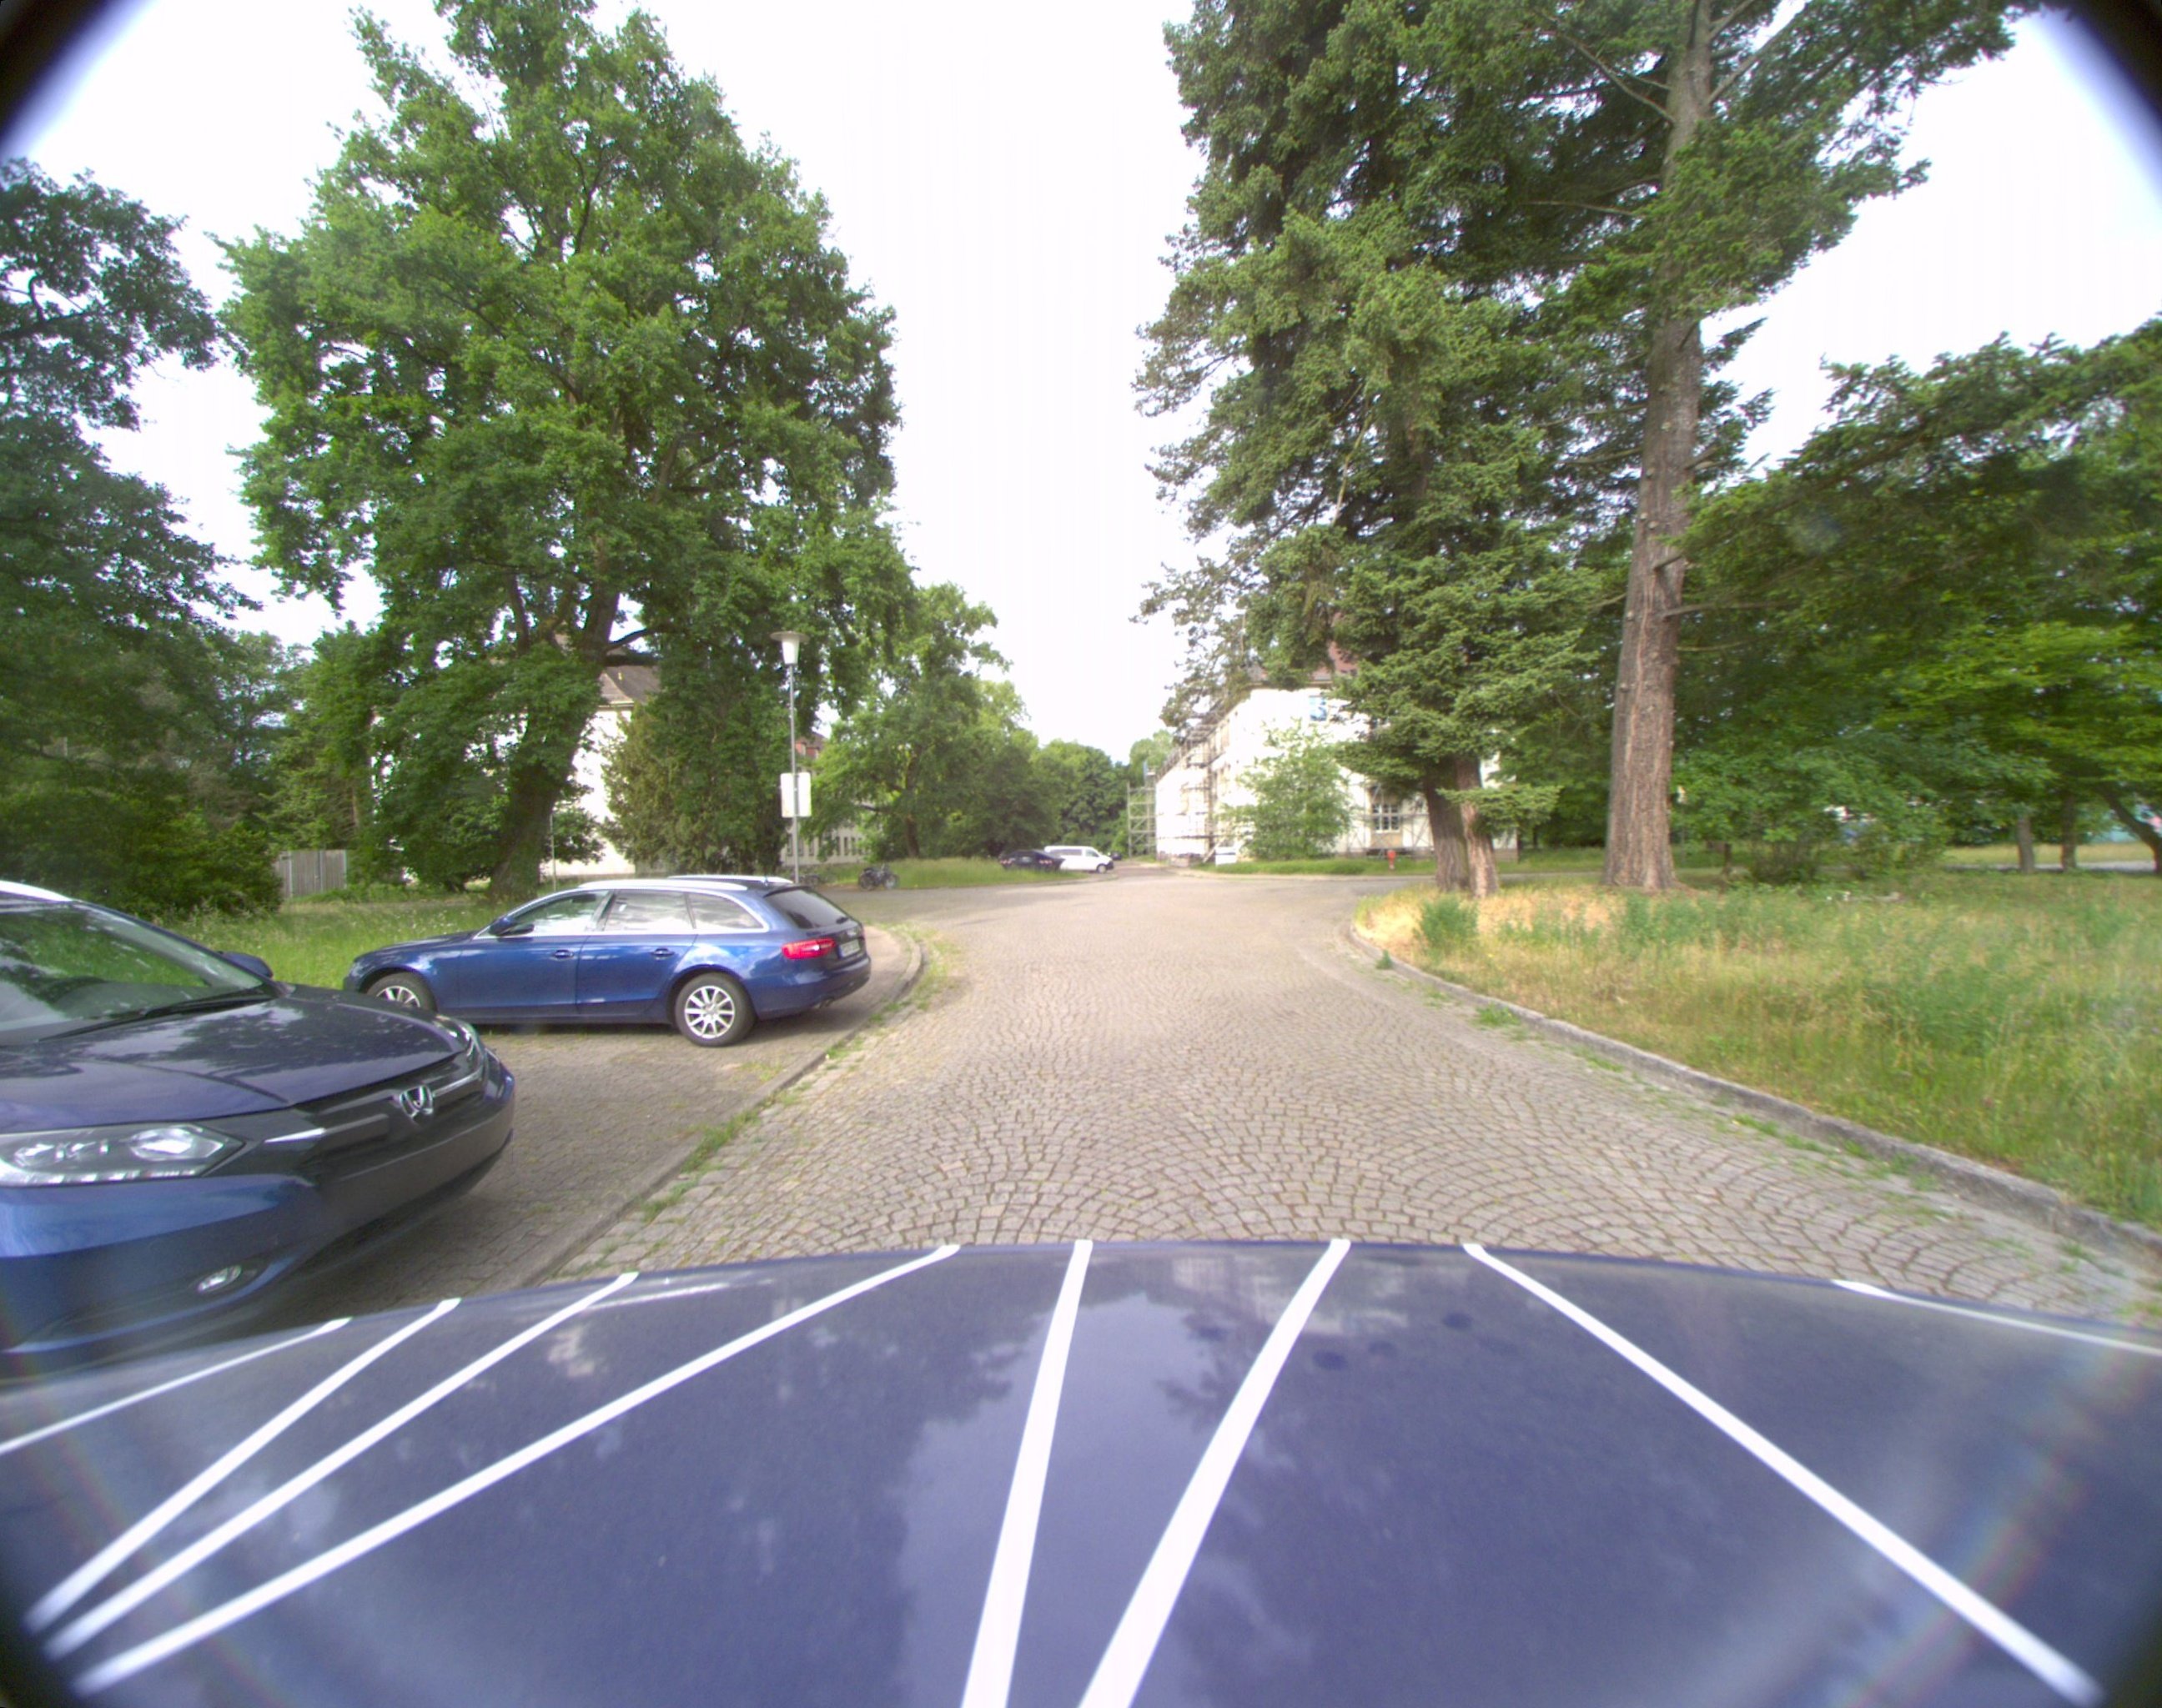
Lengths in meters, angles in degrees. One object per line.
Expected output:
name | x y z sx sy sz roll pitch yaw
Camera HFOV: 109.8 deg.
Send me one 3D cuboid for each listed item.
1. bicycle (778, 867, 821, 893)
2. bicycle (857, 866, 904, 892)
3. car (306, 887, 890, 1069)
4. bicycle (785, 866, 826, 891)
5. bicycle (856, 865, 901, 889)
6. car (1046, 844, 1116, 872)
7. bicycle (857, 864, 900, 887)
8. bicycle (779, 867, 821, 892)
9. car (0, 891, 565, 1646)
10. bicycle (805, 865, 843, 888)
bicycle | -13.359 1.225 36.064 1.859 1.116 0.620 -3 1 -23
bicycle | -9.450 1.172 35.837 1.976 1.070 0.587 -3 1 -27
car | -4.325 1.086 7.275 4.480 1.413 1.785 -1 1 3
bicycle | -13.916 1.221 38.334 1.859 1.116 0.620 -3 1 -23
bicycle | -9.964 1.140 37.417 1.976 1.070 0.587 -3 1 -27
car | -0.014 0.272 56.112 5.101 2.007 2.054 -1 1 -1
bicycle | -10.540 1.090 39.521 2.032 1.070 0.620 -3 1 -23
bicycle | -13.559 1.226 36.674 1.859 1.116 0.620 -3 1 -23
car | -4.486 1.026 2.575 4.172 1.563 1.792 -2 2 0
bicycle | -13.709 1.174 40.552 1.859 1.116 0.620 -3 1 -23
